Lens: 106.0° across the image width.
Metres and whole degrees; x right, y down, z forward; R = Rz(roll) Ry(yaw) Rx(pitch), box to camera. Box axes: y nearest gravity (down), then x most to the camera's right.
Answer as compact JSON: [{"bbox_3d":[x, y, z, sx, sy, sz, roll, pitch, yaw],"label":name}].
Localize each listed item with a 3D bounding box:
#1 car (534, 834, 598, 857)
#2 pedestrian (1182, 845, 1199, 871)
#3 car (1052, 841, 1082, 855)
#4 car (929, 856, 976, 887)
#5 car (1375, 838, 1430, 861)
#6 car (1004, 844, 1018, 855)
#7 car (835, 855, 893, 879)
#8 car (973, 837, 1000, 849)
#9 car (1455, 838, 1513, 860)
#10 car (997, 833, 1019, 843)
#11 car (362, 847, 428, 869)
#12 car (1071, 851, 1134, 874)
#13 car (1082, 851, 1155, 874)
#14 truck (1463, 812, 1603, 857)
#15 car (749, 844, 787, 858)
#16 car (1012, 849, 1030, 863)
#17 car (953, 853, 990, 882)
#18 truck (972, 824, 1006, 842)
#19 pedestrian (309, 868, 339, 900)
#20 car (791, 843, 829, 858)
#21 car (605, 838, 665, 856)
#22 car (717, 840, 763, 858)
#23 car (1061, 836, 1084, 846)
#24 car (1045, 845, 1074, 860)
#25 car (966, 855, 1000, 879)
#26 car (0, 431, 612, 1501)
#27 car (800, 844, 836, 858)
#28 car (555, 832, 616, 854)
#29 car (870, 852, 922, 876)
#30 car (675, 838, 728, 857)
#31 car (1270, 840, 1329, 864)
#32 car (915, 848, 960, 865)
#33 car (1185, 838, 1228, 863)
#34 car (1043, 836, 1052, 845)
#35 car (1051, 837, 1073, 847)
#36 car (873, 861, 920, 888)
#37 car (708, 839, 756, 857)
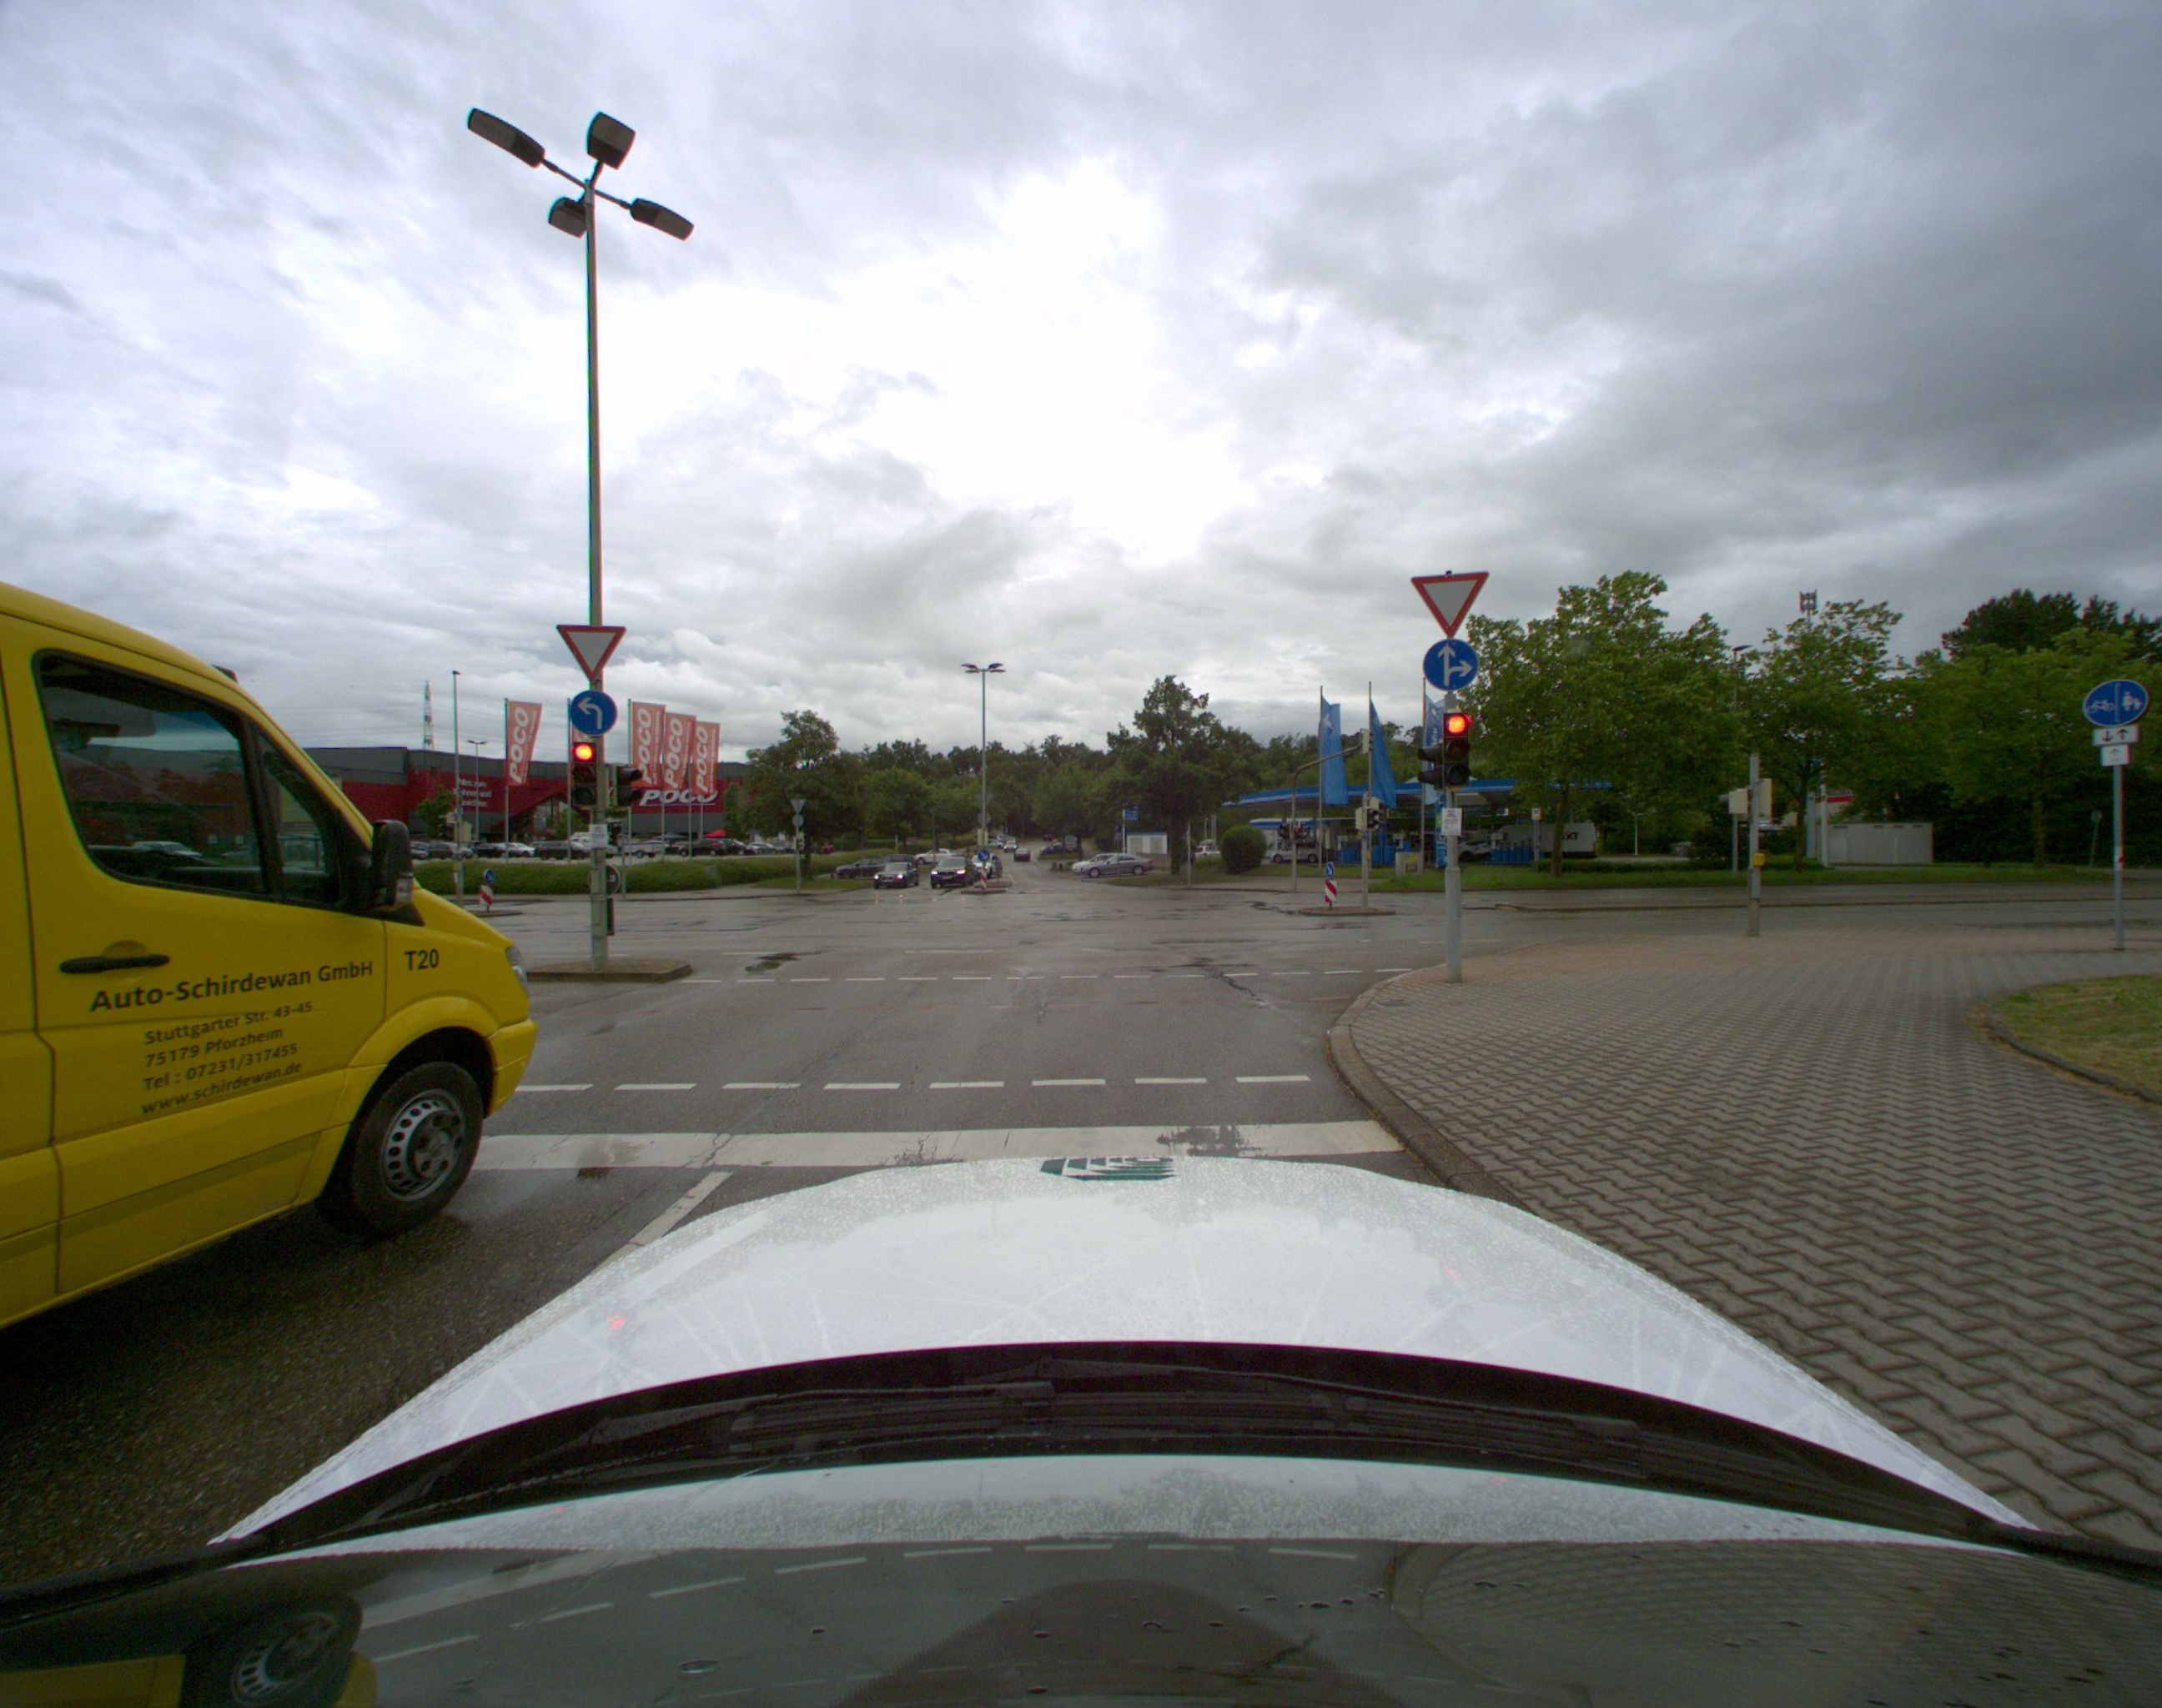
[{"bbox_3d":[-39.043,-0.608,61.823,3.798,1.645,1.674,-1,-1,3],"label":"car"},{"bbox_3d":[7.141,0.241,53.203,0.809,1.661,0.883,-1,-1,-11],"label":"pedestrian"},{"bbox_3d":[-1.821,-0.732,104.561,3.690,1.750,1.695,0,-1,-4],"label":"car"},{"bbox_3d":[-6.943,0.932,44.332,1.890,1.553,4.589,-1,0,-1],"label":"car"},{"bbox_3d":[25.989,-0.362,65.847,3.949,1.728,1.806,-2,-1,29],"label":"car"},{"bbox_3d":[-10.178,-0.601,118.184,1.692,1.456,3.671,-1,-1,-1],"label":"car"},{"bbox_3d":[-15.143,0.916,56.932,3.643,1.553,1.682,-1,-1,-5],"label":"car"},{"bbox_3d":[-14.662,-1.695,126.441,3.980,1.794,1.853,-1,-1,-5],"label":"car"},{"bbox_3d":[28.950,-0.376,58.471,3.517,1.582,1.700,1,0,33],"label":"car"},{"bbox_3d":[-14.113,-3.045,157.158,3.974,1.794,1.856,-1,-1,0],"label":"car"},{"bbox_3d":[-55.151,0.319,65.518,3.933,1.645,1.674,-1,-1,3],"label":"car"},{"bbox_3d":[1.591,0.647,61.870,4.565,1.589,1.926,-1,-1,-5],"label":"car"},{"bbox_3d":[2.565,0.584,56.575,4.878,1.549,1.996,-1,-1,-5],"label":"car"},{"bbox_3d":[29.112,-1.183,52.787,7.774,2.675,2.168,-1,-1,27],"label":"truck"},{"bbox_3d":[-37.084,-0.343,96.467,3.798,1.645,1.674,-1,-1,3],"label":"car"},{"bbox_3d":[-6.672,0.272,91.093,1.803,1.482,3.747,-1,0,-3],"label":"car"},{"bbox_3d":[-6.733,0.825,50.274,1.791,1.633,4.547,-1,-1,-2],"label":"car"},{"bbox_3d":[-21.547,-4.956,190.792,7.324,3.861,2.784,-1,-1,8],"label":"truck"},{"bbox_3d":[-34.349,1.371,36.954,0.637,1.431,0.781,-1,-1,-1],"label":"pedestrian"},{"bbox_3d":[-31.969,-0.381,96.083,3.798,1.645,1.674,-1,-1,3],"label":"car"},{"bbox_3d":[-35.411,-0.534,64.720,3.880,1.381,1.674,-1,-1,3],"label":"car"},{"bbox_3d":[-33.301,-0.505,79.537,3.798,1.645,1.674,-1,-1,3],"label":"car"},{"bbox_3d":[-1.582,-2.312,144.630,3.979,1.739,1.808,-1,-1,-4],"label":"car"},{"bbox_3d":[-2.642,-0.177,98.061,3.452,1.654,1.614,0,-1,-3],"label":"car"},{"bbox_3d":[-6.696,0.846,56.008,1.890,1.553,3.998,-1,0,-1],"label":"car"},{"bbox_3d":[-3.619,0.270,1.799,2.232,2.474,5.014,-1,-1,0],"label":"car"},{"bbox_3d":[-31.932,-0.359,98.870,3.798,1.645,1.674,-1,-1,3],"label":"car"},{"bbox_3d":[-39.390,-0.832,64.799,3.798,1.645,1.634,-1,-1,3],"label":"car"},{"bbox_3d":[-14.181,0.761,62.544,3.643,1.724,1.682,-1,-1,-5],"label":"car"},{"bbox_3d":[-33.437,-0.568,71.821,3.798,1.645,1.674,-1,-1,3],"label":"car"},{"bbox_3d":[17.391,-0.131,64.822,4.075,1.807,1.958,-1,-1,31],"label":"car"},{"bbox_3d":[-14.708,0.280,83.752,4.260,1.609,1.684,-1,-1,-2],"label":"car"},{"bbox_3d":[9.282,-0.216,60.317,1.811,1.797,3.681,0,-1,-15],"label":"car"},{"bbox_3d":[-7.493,-3.030,182.554,1.800,1.739,3.996,-1,0,-3],"label":"car"},{"bbox_3d":[-3.593,-2.230,152.112,3.979,1.739,1.808,-1,-1,-4],"label":"car"},{"bbox_3d":[-10.289,1.106,45.657,1.778,1.404,3.998,-1,0,-1],"label":"car"},{"bbox_3d":[-32.867,-0.531,76.808,3.798,1.645,1.674,-1,-1,3],"label":"car"}]
